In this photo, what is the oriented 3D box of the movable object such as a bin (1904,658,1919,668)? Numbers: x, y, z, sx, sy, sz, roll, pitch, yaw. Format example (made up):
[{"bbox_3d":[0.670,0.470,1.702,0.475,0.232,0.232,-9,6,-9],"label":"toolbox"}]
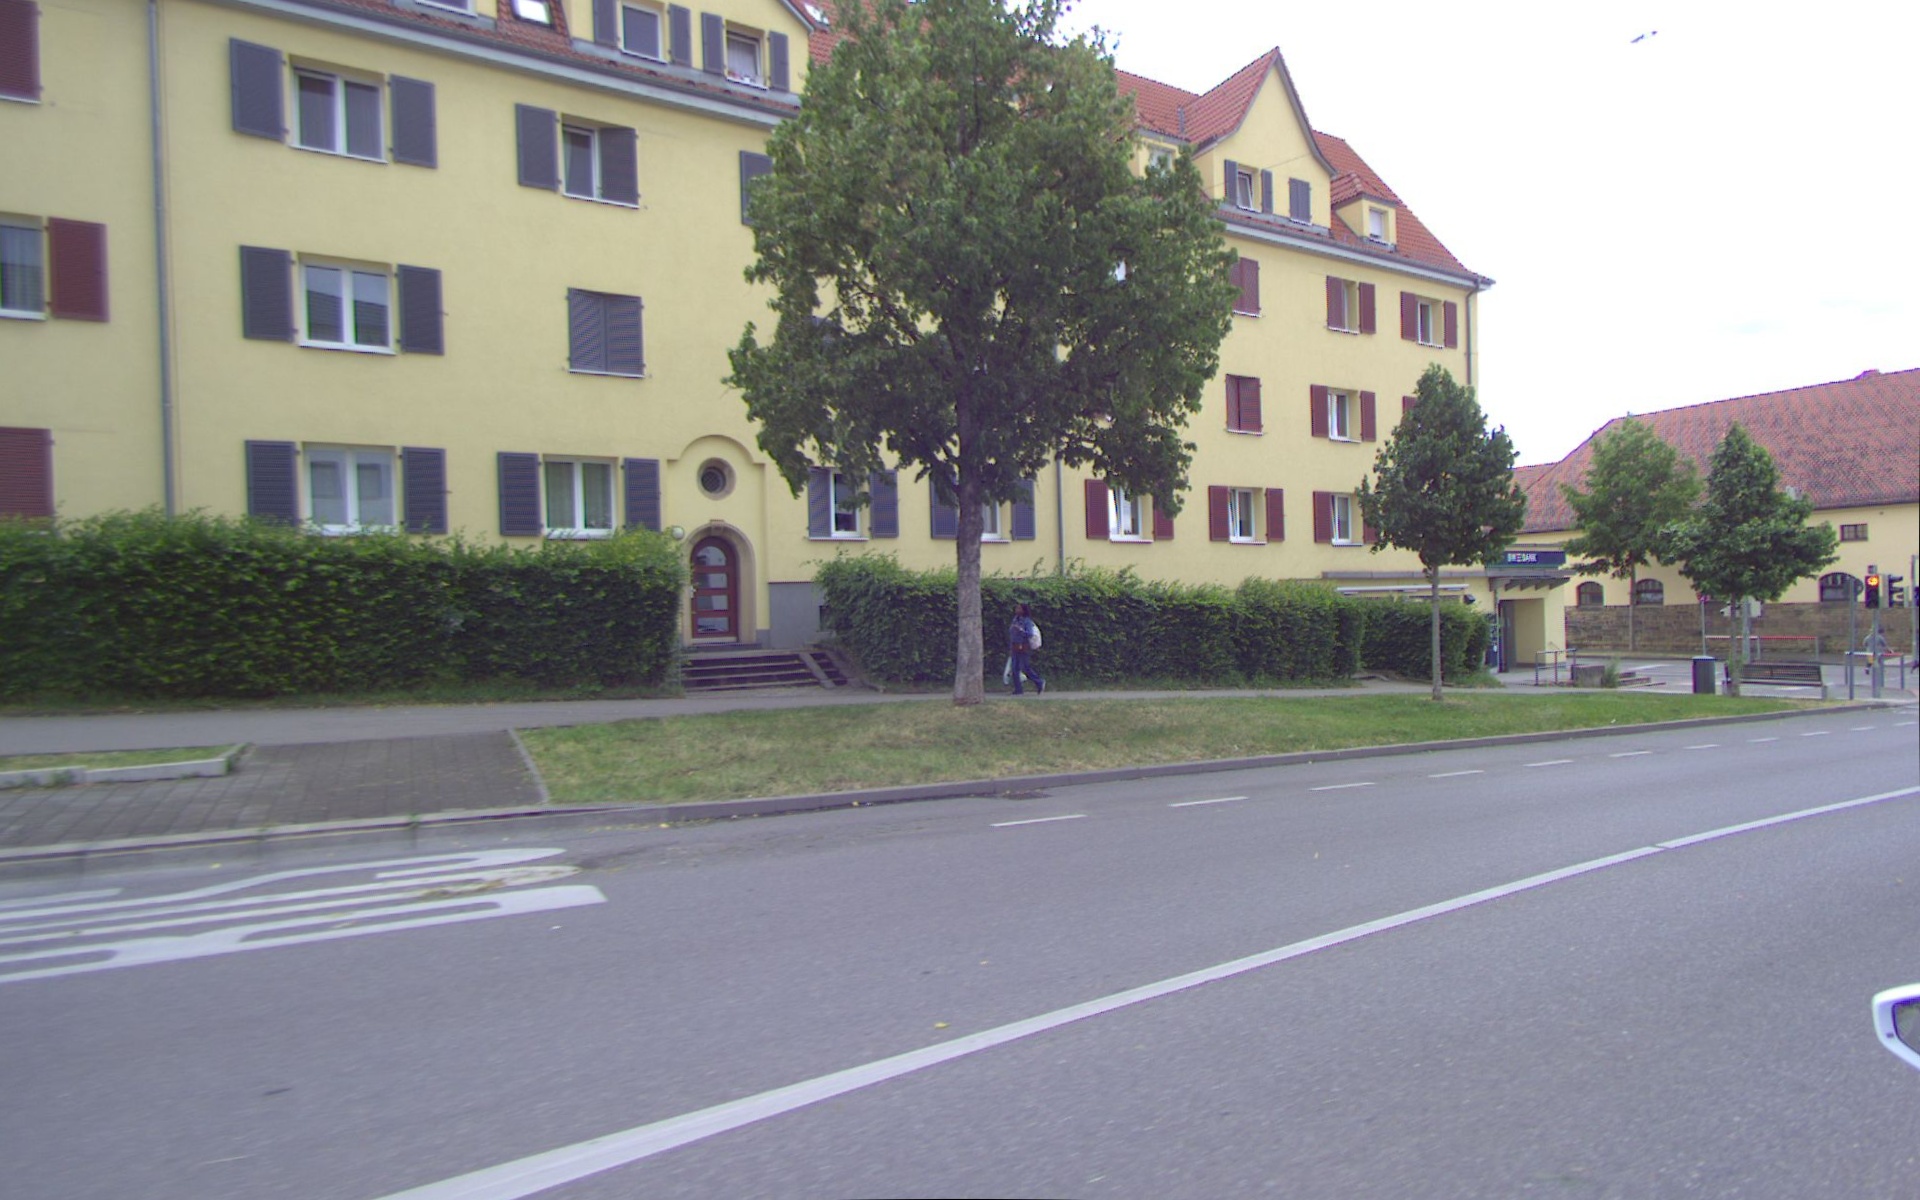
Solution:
[{"bbox_3d":[33.384,2.205,35.151,0.573,0.352,0.305,0,-1,-25],"label":"movable object such as a bin"}]

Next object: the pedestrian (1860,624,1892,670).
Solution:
[{"bbox_3d":[32.252,1.641,35.363,0.831,1.587,0.562,0,0,-25],"label":"pedestrian"}]

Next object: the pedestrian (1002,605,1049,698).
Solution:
[{"bbox_3d":[1.181,0.916,18.169,0.611,1.640,0.637,0,-1,-31],"label":"pedestrian"}]
